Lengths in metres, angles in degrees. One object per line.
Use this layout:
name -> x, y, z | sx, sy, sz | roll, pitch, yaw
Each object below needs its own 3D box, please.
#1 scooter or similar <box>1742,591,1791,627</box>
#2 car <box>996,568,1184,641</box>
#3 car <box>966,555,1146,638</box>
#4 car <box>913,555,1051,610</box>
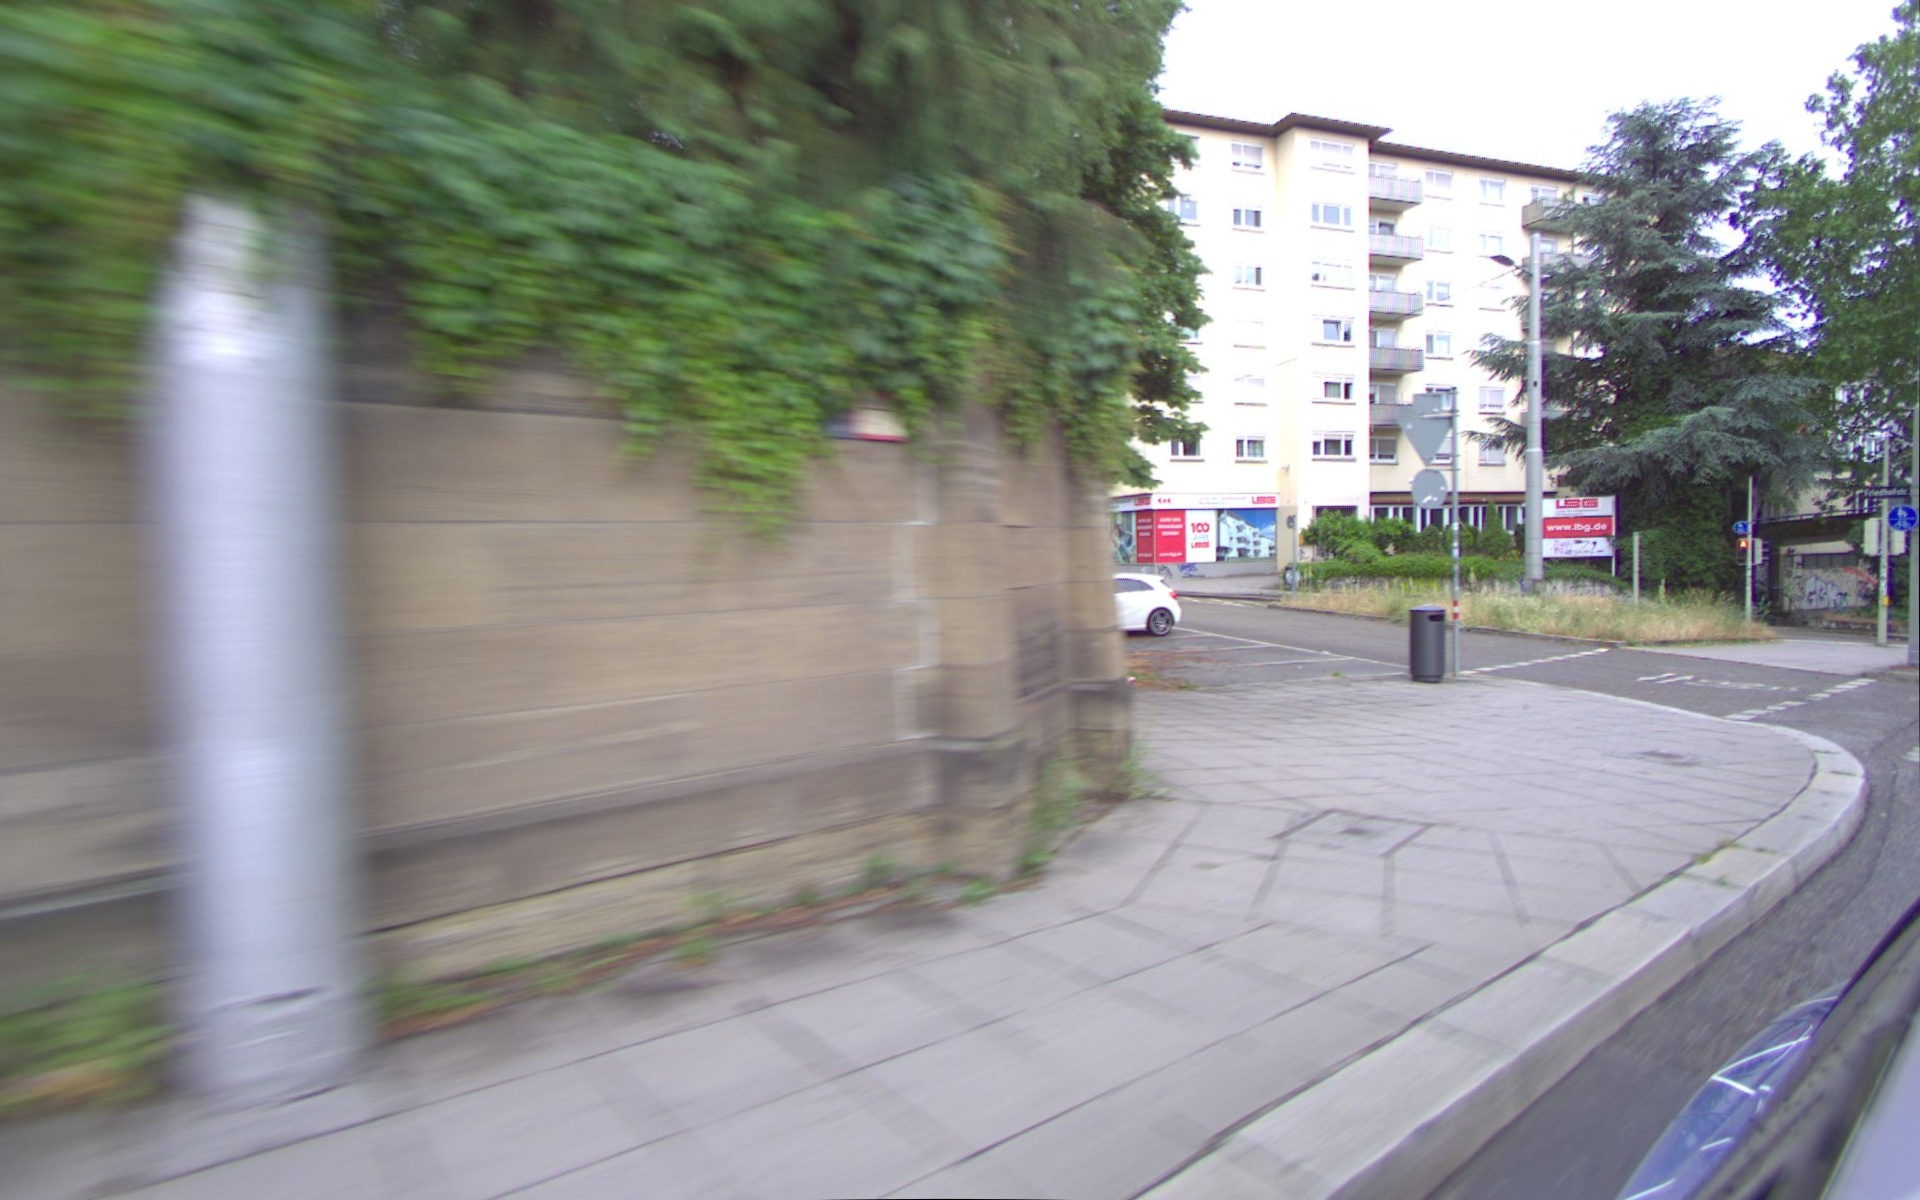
scooter or similar -> 29.810, 0.341, 37.400 | 1.880, 1.233, 0.603 | 2, 2, -27
car -> 2.979, 0.059, 23.485 | 3.917, 1.423, 1.763 | -3, 3, -14
car -> 2.418, -0.142, 25.851 | 4.185, 1.825, 1.763 | -3, 3, -14
car -> 0.692, -0.599, 33.029 | 4.131, 1.575, 1.794 | -2, 4, -14
